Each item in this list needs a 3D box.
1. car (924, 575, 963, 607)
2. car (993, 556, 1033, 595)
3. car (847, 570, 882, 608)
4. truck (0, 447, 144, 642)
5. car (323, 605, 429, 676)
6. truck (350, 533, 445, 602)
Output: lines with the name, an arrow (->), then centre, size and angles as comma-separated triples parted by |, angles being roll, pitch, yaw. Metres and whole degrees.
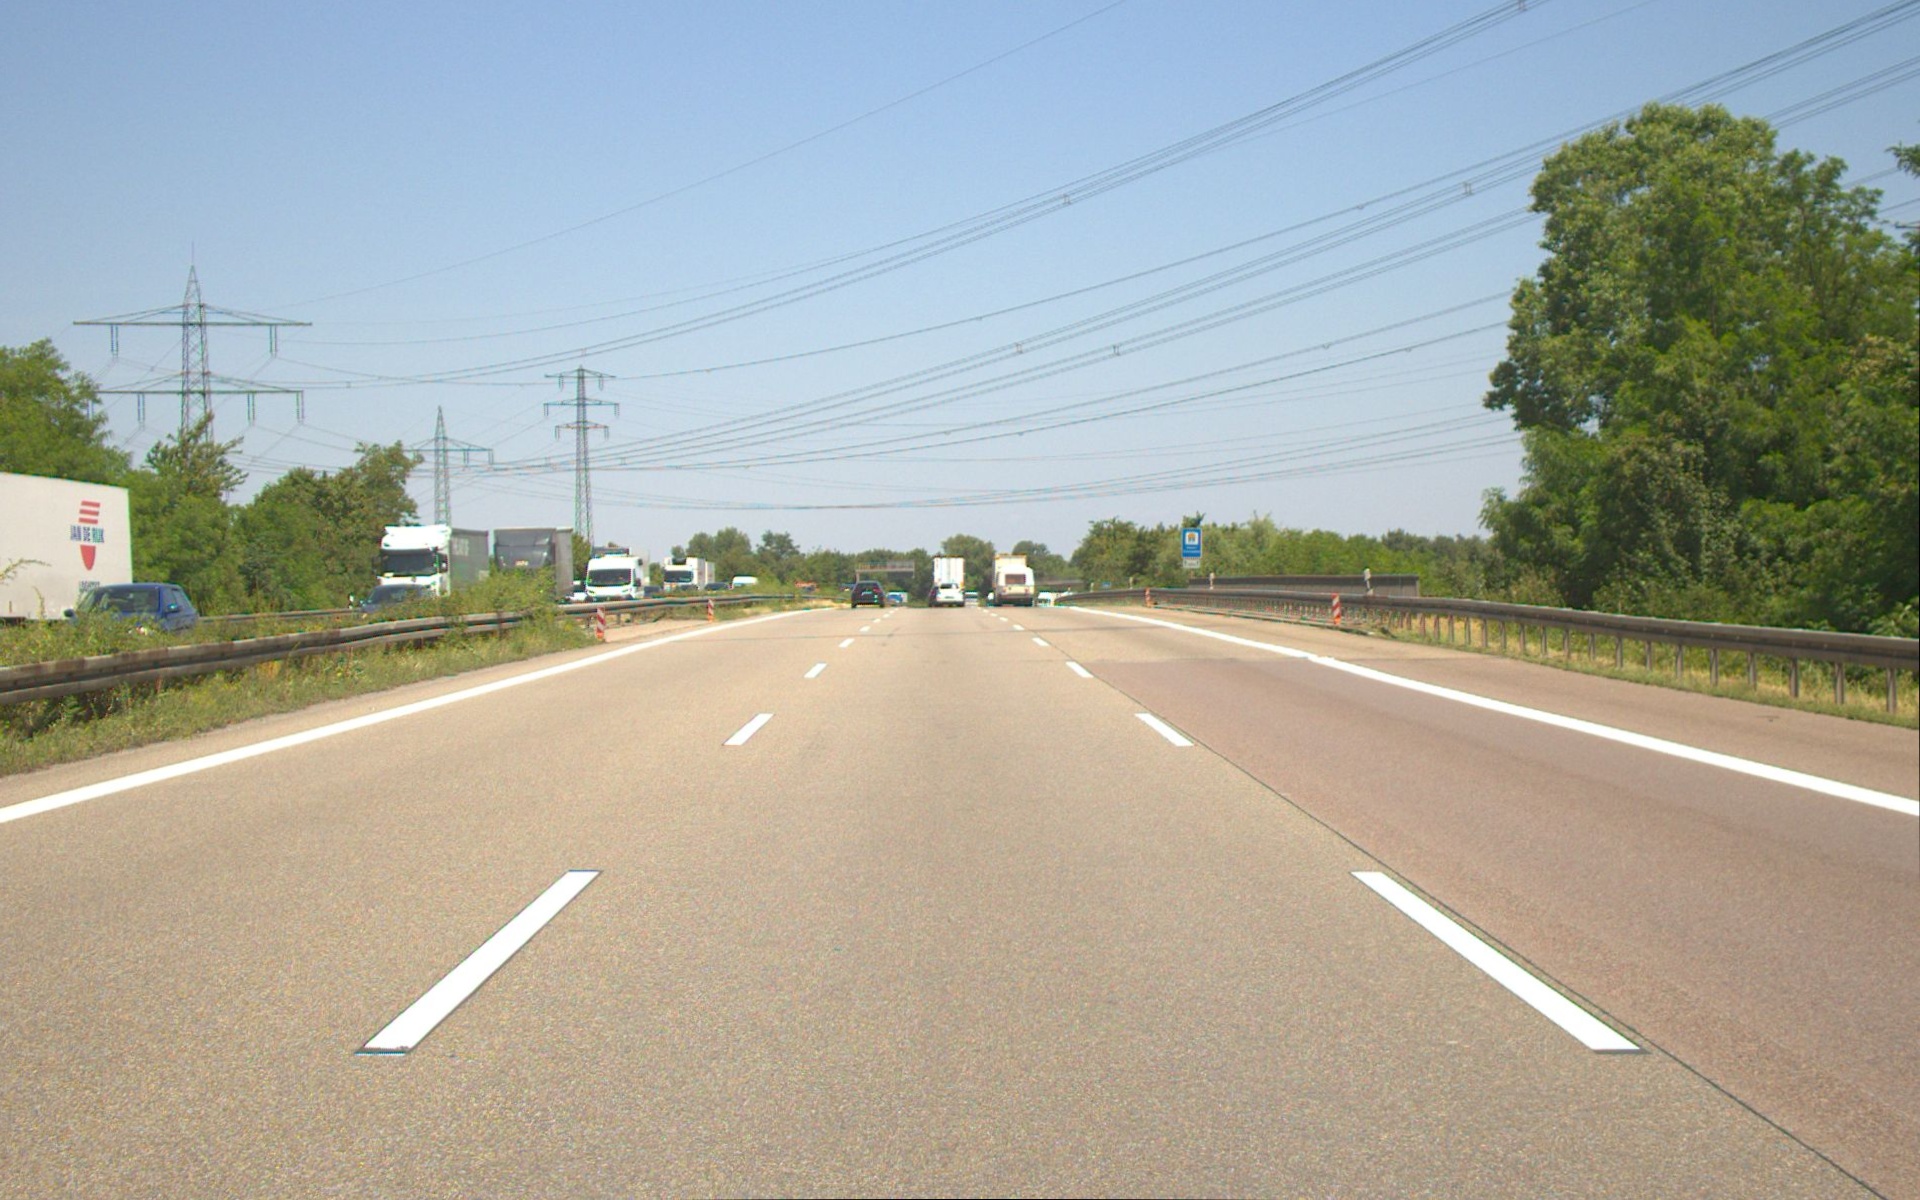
car -> -1.066, -0.601, 221.980 | 2.177, 1.923, 4.611 | -1, 1, 3
car -> 2.822, -1.298, 182.928 | 1.993, 2.007, 4.000 | -1, 1, -1
car -> -5.170, -0.615, 187.216 | 1.791, 2.007, 3.888 | 0, 1, 0
truck -> -21.670, -1.197, 77.055 | 2.961, 4.077, 17.030 | -1, 1, -1
car -> -14.644, 0.995, 86.384 | 1.993, 1.645, 4.000 | -1, 1, -1
truck -> -21.401, -1.252, 131.362 | 2.499, 2.456, 12.295 | -1, 1, -4
